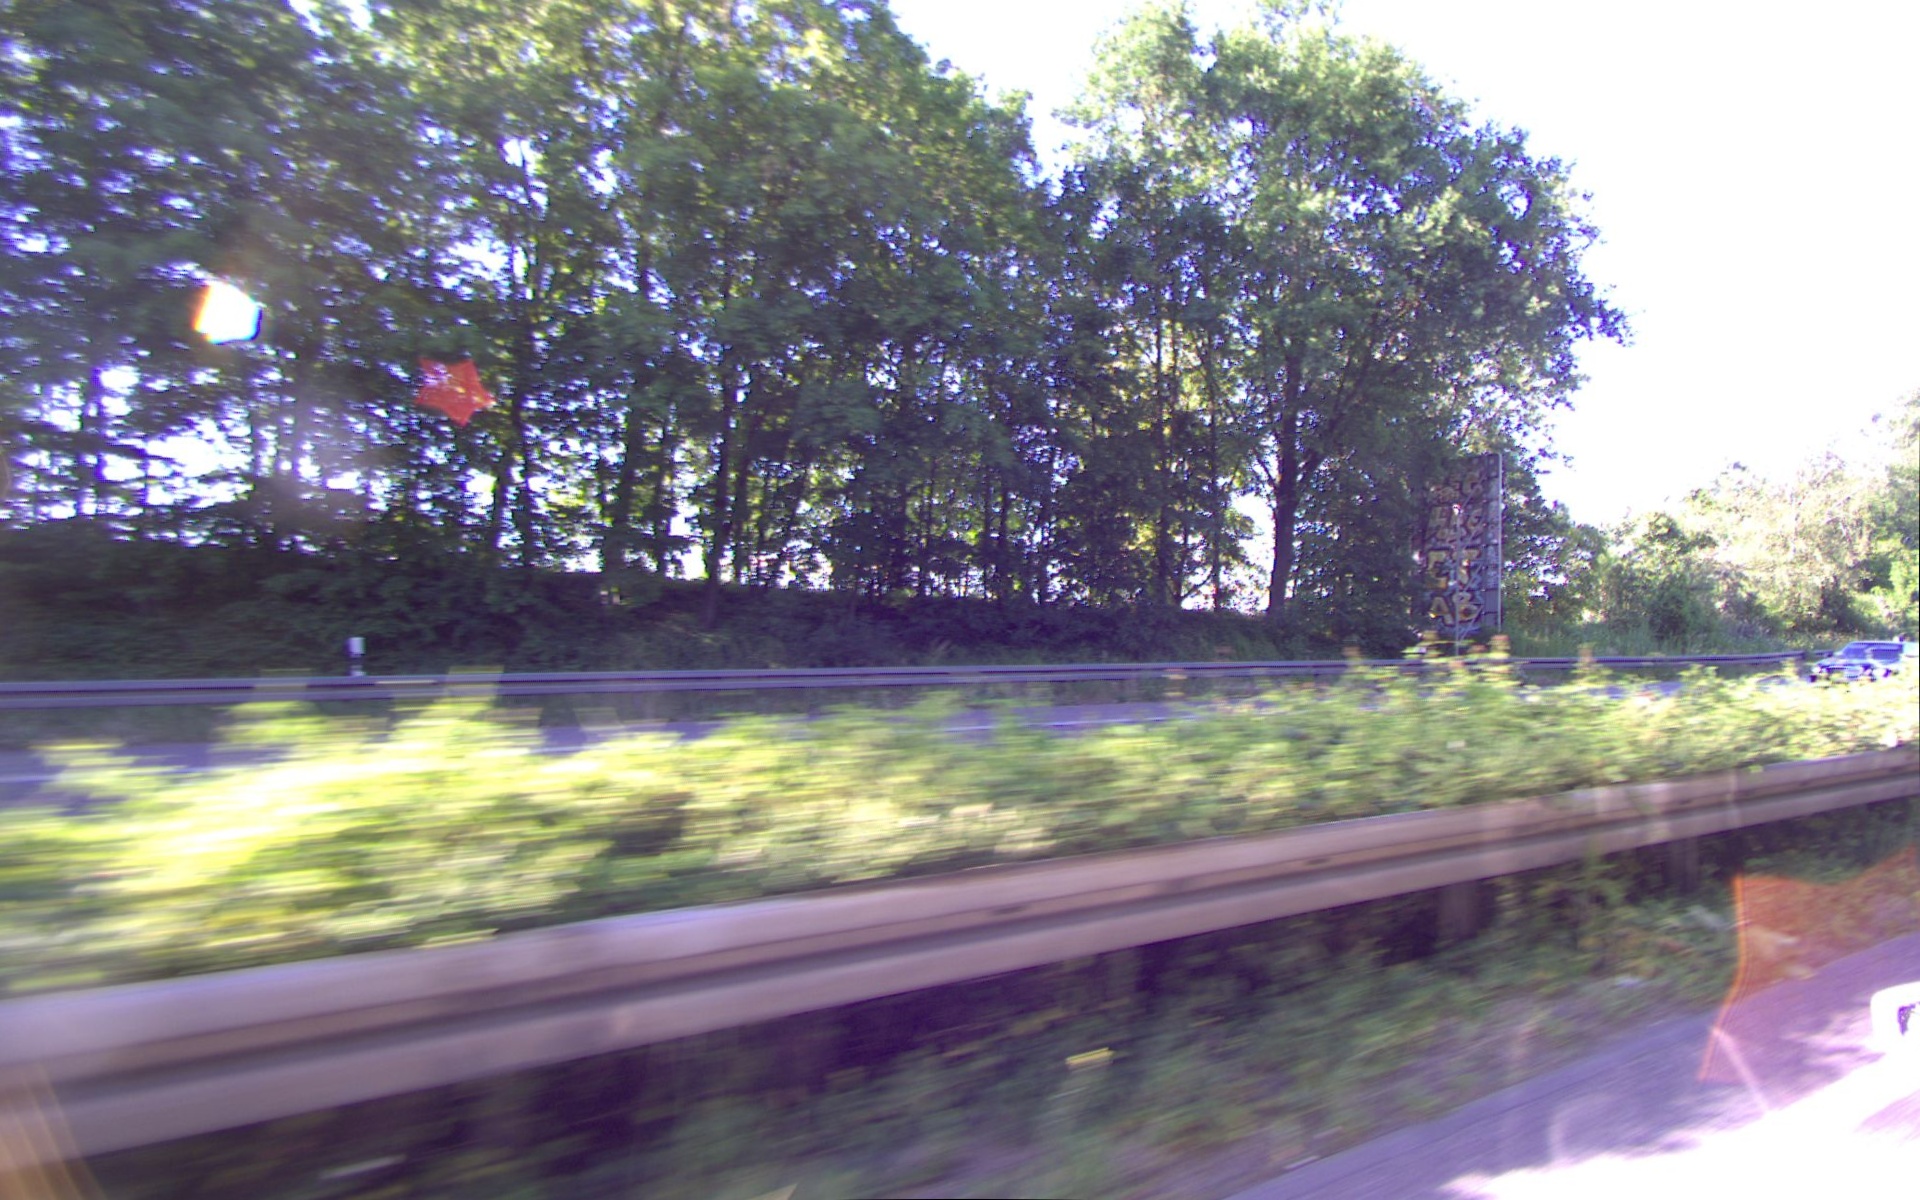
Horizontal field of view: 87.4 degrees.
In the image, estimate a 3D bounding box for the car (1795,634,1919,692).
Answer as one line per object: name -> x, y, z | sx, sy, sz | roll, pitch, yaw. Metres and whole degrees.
car -> 25.684, 1.724, 28.383 | 4.457, 1.469, 1.949 | 1, 0, -33
